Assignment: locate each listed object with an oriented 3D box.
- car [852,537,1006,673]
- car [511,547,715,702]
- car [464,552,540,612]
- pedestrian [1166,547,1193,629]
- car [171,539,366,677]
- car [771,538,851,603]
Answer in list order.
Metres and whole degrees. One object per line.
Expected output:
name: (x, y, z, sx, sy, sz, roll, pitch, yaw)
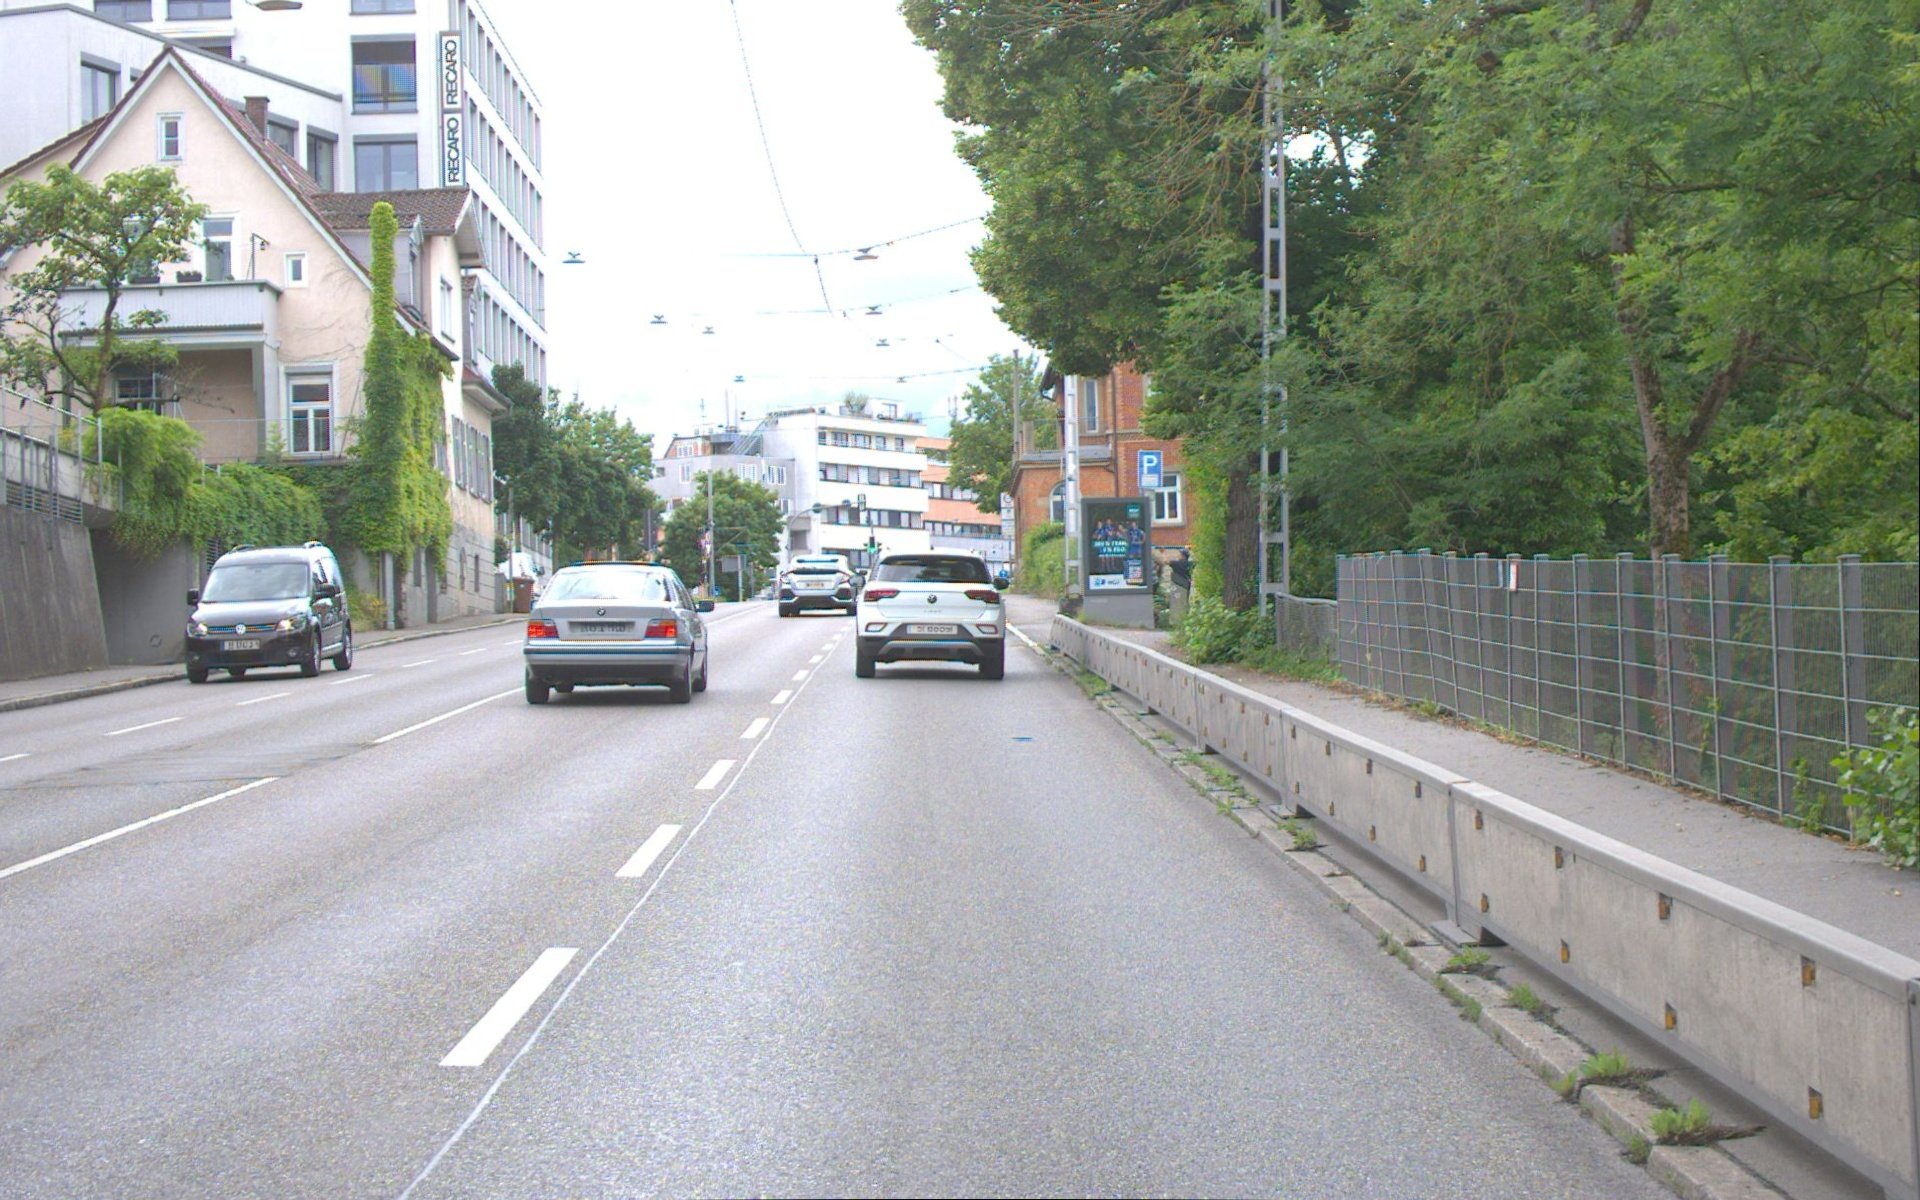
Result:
car: (-0.417, 0.035, 41.879, 1.780, 1.573, 4.000, 0, 1, -2)
car: (-3.480, 0.203, 35.078, 1.706, 1.459, 4.000, -1, 1, -1)
car: (-13.497, -0.544, 101.539, 1.993, 1.695, 4.001, -1, 1, -4)
pedestrian: (4.675, -0.259, 73.169, 0.509, 1.711, 0.465, -1, 1, -2)
car: (-9.596, 0.071, 48.029, 1.816, 1.778, 4.495, -2, 1, -1)
car: (-3.458, -0.707, 80.189, 1.706, 1.459, 4.000, -1, 1, -1)
